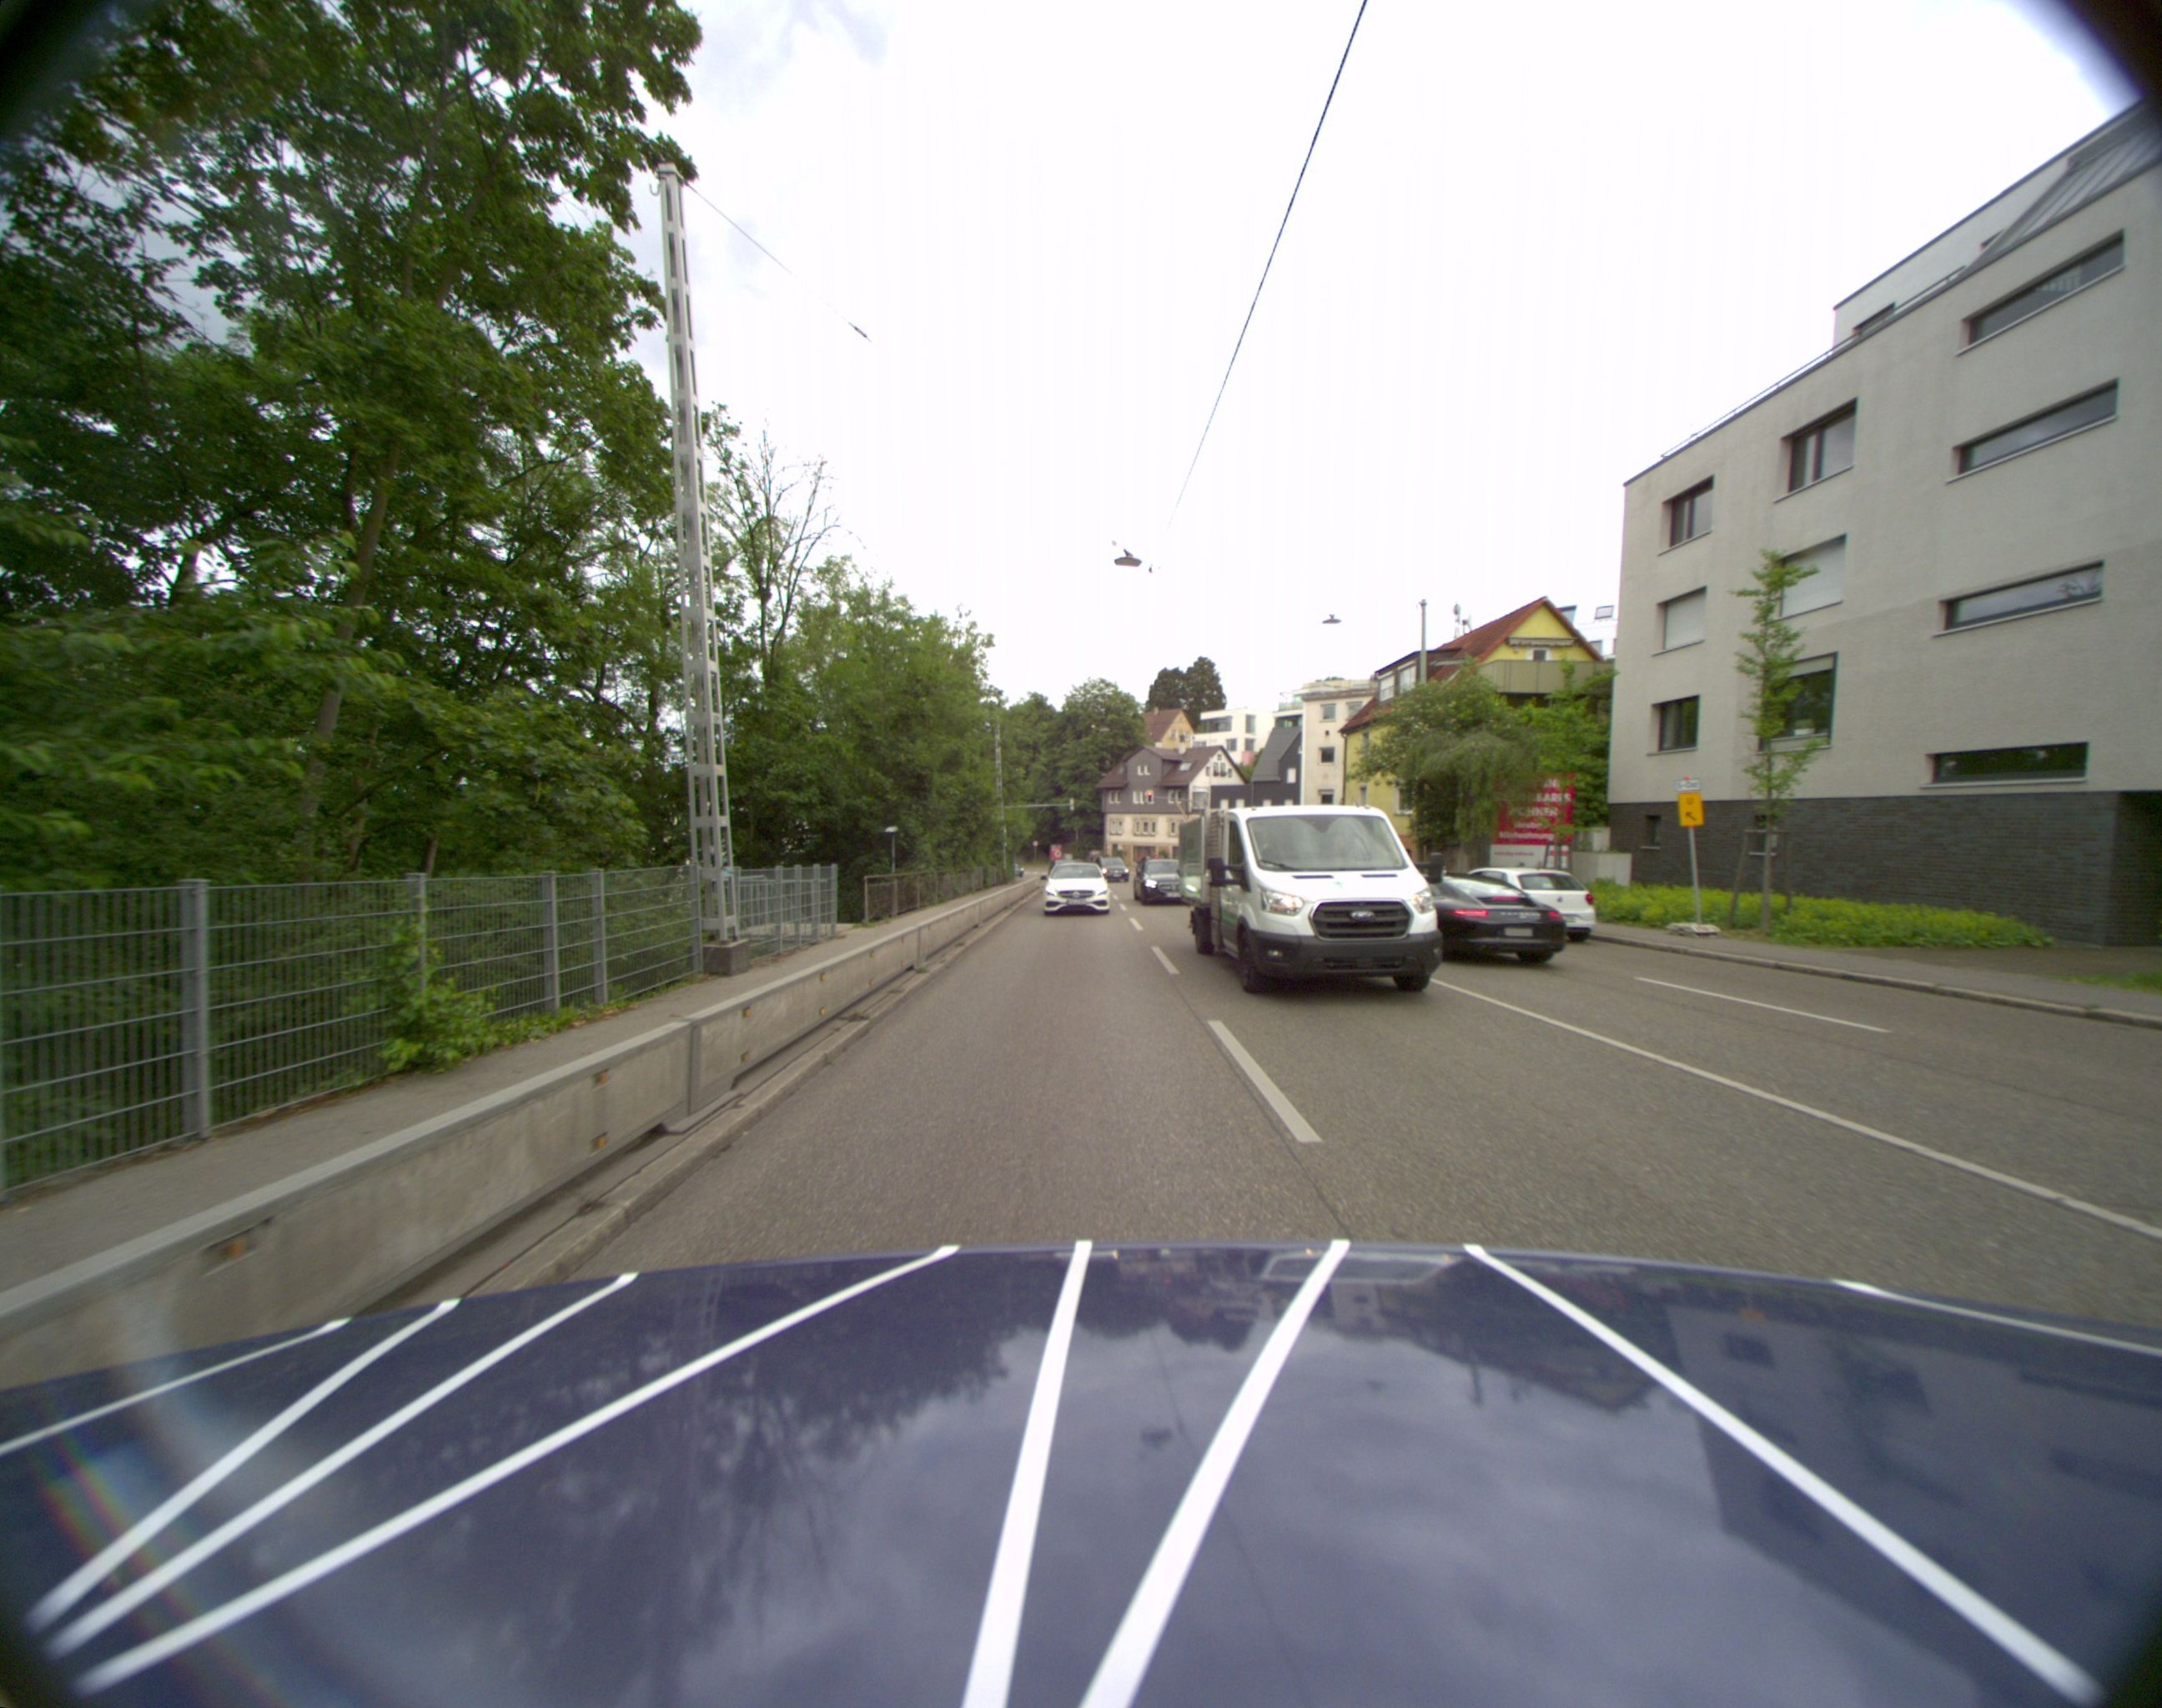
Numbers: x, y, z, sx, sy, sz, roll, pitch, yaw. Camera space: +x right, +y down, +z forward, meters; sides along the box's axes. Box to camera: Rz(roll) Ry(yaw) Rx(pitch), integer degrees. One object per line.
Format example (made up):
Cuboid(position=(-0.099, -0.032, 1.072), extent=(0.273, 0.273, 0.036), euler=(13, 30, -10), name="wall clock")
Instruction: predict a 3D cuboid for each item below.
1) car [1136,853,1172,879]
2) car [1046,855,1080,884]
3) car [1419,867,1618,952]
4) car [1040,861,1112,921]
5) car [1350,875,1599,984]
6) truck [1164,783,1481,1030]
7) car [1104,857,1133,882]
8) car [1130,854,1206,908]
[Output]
Cuboid(position=(5.065, 0.784, 53.208), extent=(1.901, 1.685, 4.346), euler=(-2, 0, -2), name="car")
Cuboid(position=(-1.148, 0.980, 47.075), extent=(1.778, 1.531, 4.000), euler=(7, -2, -3), name="car")
Cuboid(position=(8.941, 1.049, 16.020), extent=(1.778, 1.455, 4.191), euler=(1, 0, 0), name="car")
Cuboid(position=(-0.117, 0.975, 21.882), extent=(1.817, 1.391, 3.999), euler=(-2, 1, 0), name="car")
Cuboid(position=(5.851, 1.036, 11.969), extent=(1.758, 1.261, 4.191), euler=(1, 0, 0), name="car")
Cuboid(position=(2.649, 0.487, 10.365), extent=(2.081, 2.307, 6.330), euler=(-1, 0, -2), name="truck")
Cuboid(position=(2.385, 0.984, 48.750), extent=(1.693, 1.499, 4.000), euler=(0, 0, 0), name="car")
Cuboid(position=(2.820, 0.831, 25.592), extent=(1.916, 1.472, 4.398), euler=(-3, 1, -1), name="car")
